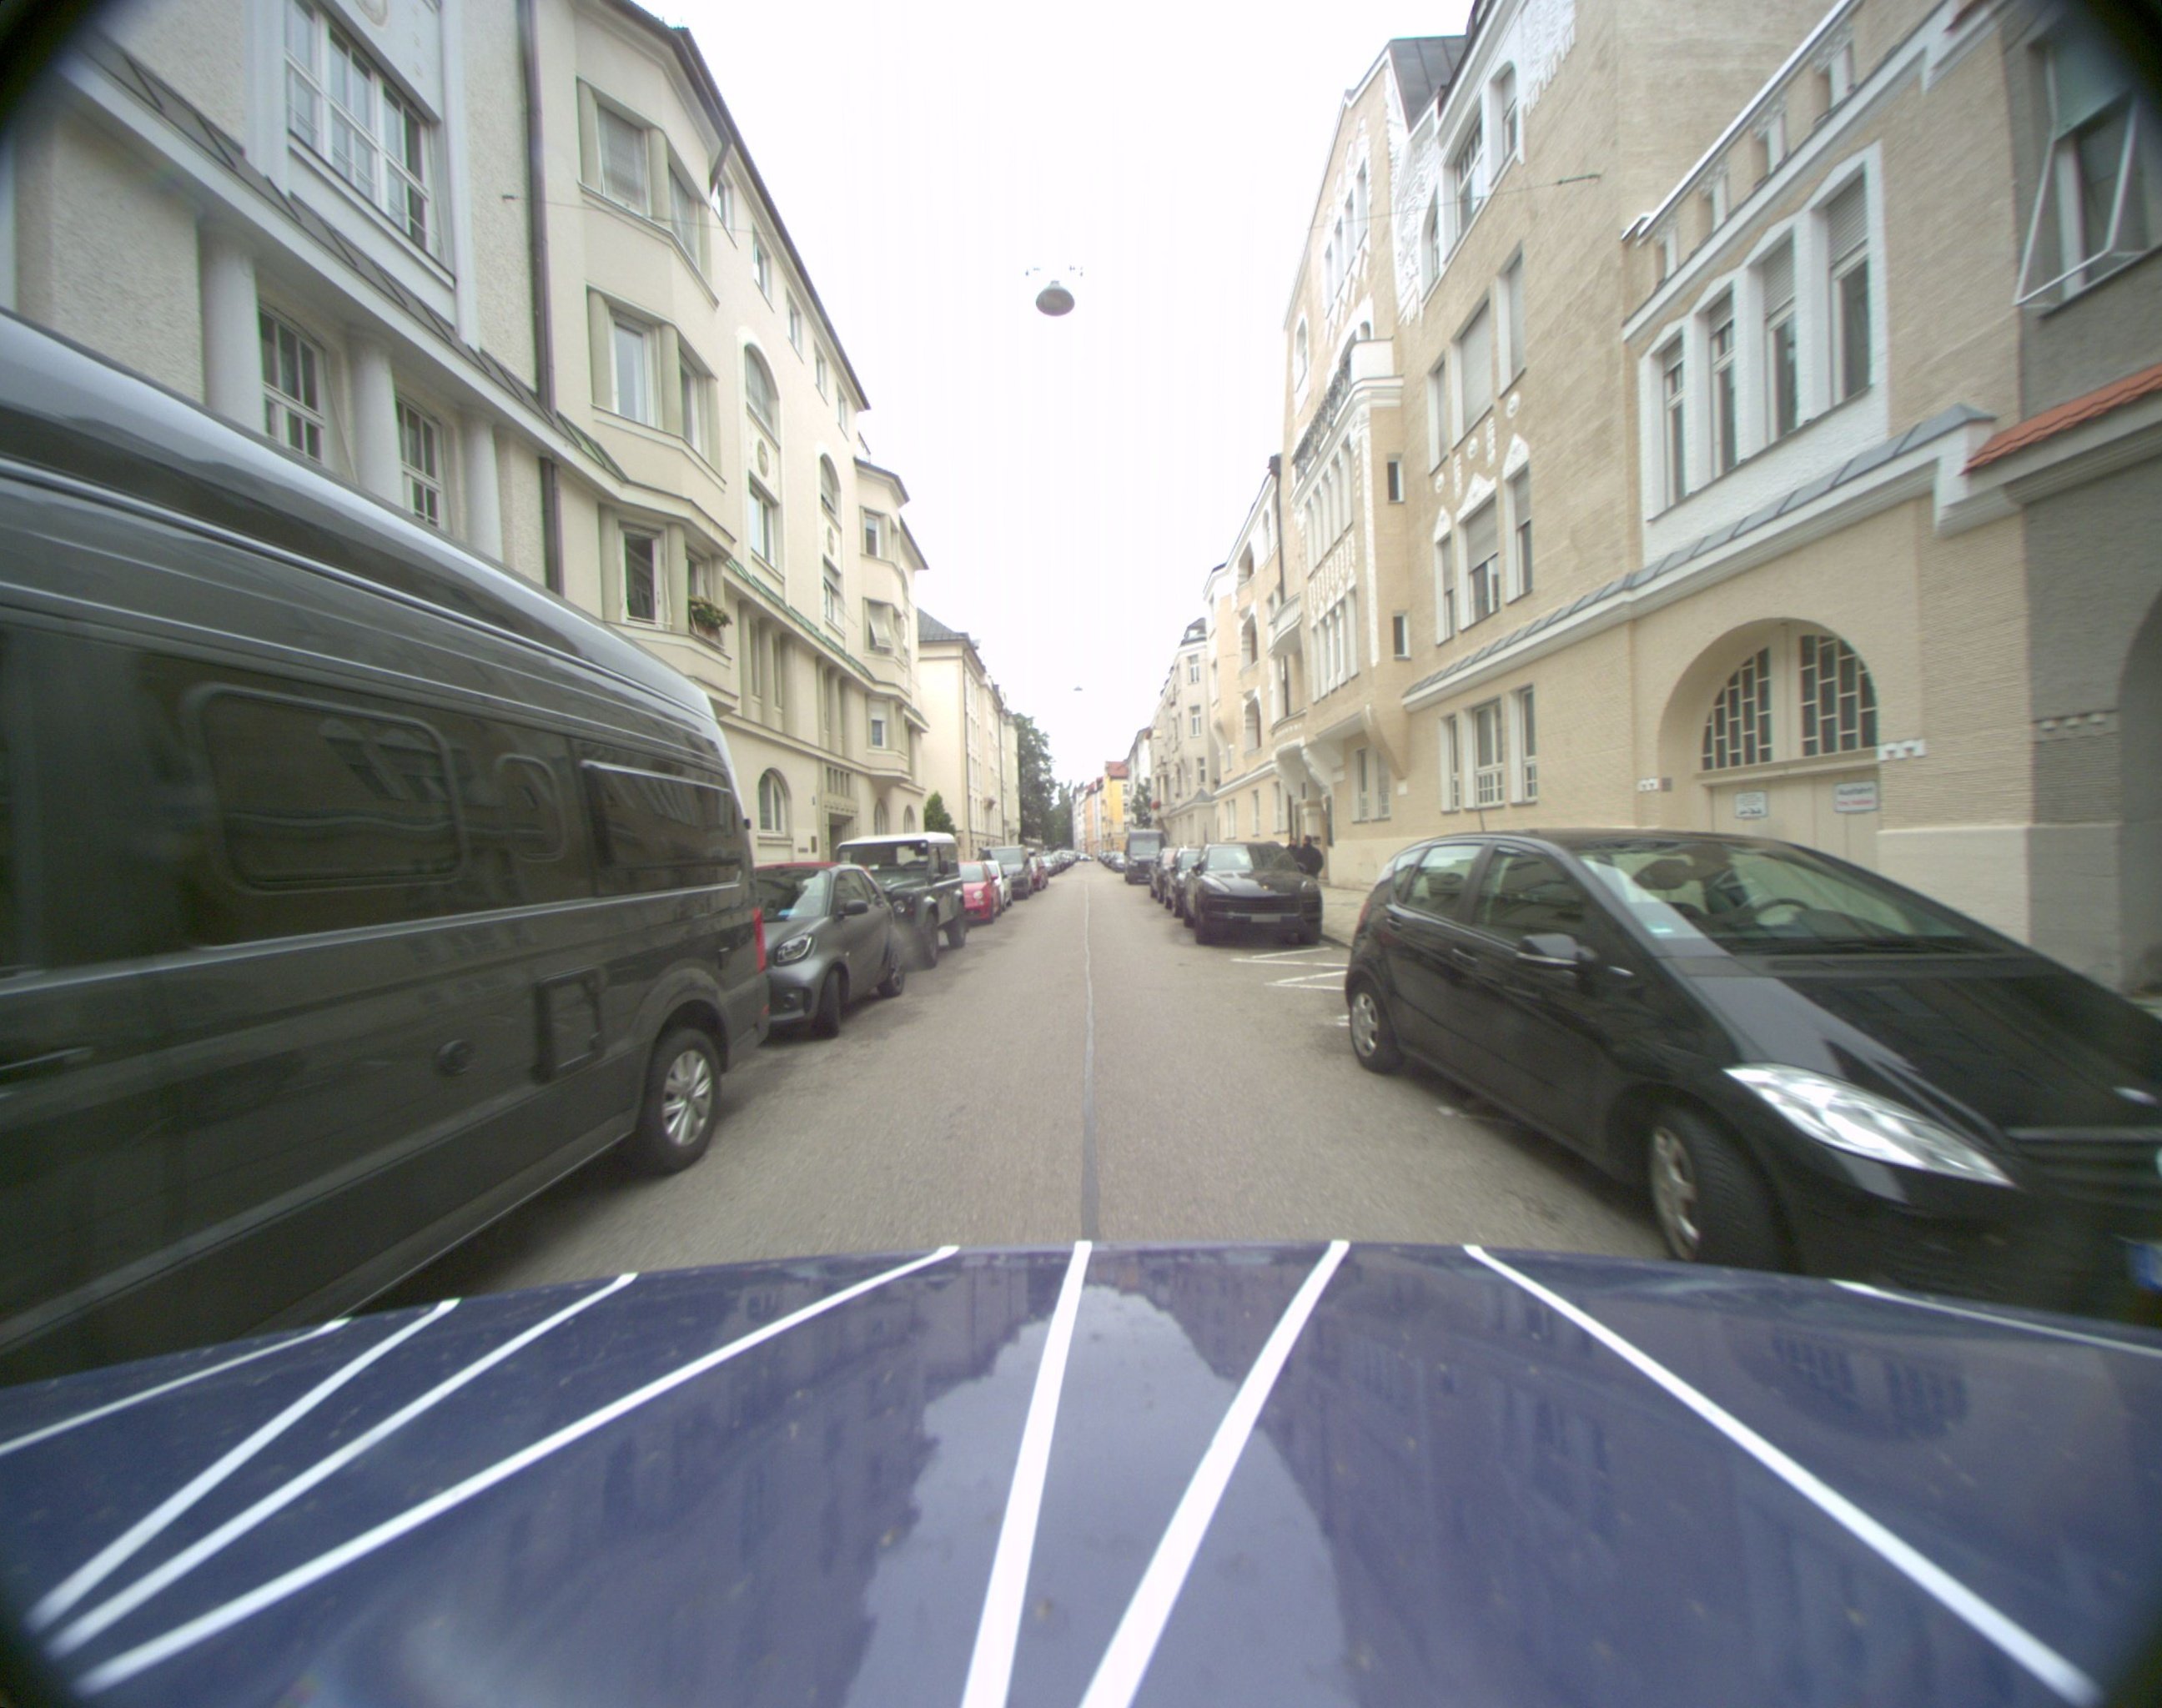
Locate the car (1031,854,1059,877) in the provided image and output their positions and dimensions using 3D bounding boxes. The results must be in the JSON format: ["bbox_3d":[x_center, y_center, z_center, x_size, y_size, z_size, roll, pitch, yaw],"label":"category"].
[{"bbox_3d":[-2.530,0.777,53.479,1.683,1.434,3.645,-2,1,1],"label":"car"}]

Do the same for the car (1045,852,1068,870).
[{"bbox_3d":[-2.004,0.561,63.075,1.683,1.375,3.645,-2,1,1],"label":"car"}]

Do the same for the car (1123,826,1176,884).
[{"bbox_3d":[3.267,0.032,37.190,2.104,2.606,5.677,-1,1,1],"label":"car"}]

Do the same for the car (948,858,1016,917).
[{"bbox_3d":[-2.854,0.925,22.486,1.497,1.463,3.674,-3,0,-1],"label":"car"}]

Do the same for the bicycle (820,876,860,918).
[{"bbox_3d":[-7.188,1.265,22.778,0.494,1.111,1.967,-2,1,1],"label":"bicycle"}]

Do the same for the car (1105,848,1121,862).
[{"bbox_3d":[3.798,0.099,90.399,1.683,1.628,3.704,-3,1,-1],"label":"car"}]

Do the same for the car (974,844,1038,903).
[{"bbox_3d":[-2.721,0.651,28.469,1.880,1.925,4.662,-3,1,-1],"label":"car"}]

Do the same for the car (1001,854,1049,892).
[{"bbox_3d":[-2.394,0.777,33.374,1.731,1.458,3.737,-2,1,1],"label":"car"}]

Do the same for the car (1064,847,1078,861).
[{"bbox_3d":[-1.242,-0.023,99.163,1.683,1.671,3.645,-2,1,1],"label":"car"}]

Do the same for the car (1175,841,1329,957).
[{"bbox_3d":[2.821,0.646,13.574,1.955,1.649,4.618,-2,1,4],"label":"car"}]

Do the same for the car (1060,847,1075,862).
[{"bbox_3d":[-1.616,0.061,93.007,1.683,1.671,3.645,-2,1,1],"label":"car"}]

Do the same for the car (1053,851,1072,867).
[{"bbox_3d":[-1.866,0.477,75.609,1.683,1.434,3.645,-2,1,1],"label":"car"}]

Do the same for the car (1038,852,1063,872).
[{"bbox_3d":[-2.326,0.625,58.553,1.683,1.375,3.645,-2,1,1],"label":"car"}]

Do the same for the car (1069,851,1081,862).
[{"bbox_3d":[-0.960,0.416,122.778,1.683,1.671,3.645,-2,1,1],"label":"car"}]

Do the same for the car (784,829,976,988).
[{"bbox_3d":[-2.941,0.702,12.069,1.800,2.027,4.071,-2,1,1],"label":"car"}]

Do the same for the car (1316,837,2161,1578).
[{"bbox_3d":[2.716,0.753,3.604,1.808,1.563,3.812,-3,1,-3],"label":"car"}]

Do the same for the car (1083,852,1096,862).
[{"bbox_3d":[1.554,0.508,140.205,1.999,1.788,3.997,-3,1,-5],"label":"car"}]

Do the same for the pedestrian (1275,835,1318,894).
[{"bbox_3d":[6.573,0.306,23.207,0.995,1.719,0.939,-3,1,0],"label":"pedestrian"}]

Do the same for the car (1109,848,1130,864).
[{"bbox_3d":[3.646,0.203,72.735,1.683,1.390,3.704,-3,1,-1],"label":"car"}]

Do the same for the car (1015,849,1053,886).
[{"bbox_3d":[-2.448,0.672,40.093,1.683,1.767,3.456,-2,1,1],"label":"car"}]

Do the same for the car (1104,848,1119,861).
[{"bbox_3d":[4.034,0.047,101.176,1.683,1.628,3.704,-3,1,-1],"label":"car"}]

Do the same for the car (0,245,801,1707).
[{"bbox_3d":[-3.166,0.321,2.133,2.260,2.943,6.130,-3,2,0],"label":"car"}]

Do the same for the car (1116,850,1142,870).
[{"bbox_3d":[3.572,0.428,56.656,1.683,1.390,3.705,-2,1,1],"label":"car"}]

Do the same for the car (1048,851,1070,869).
[{"bbox_3d":[-1.910,0.510,67.360,1.683,1.375,3.645,-2,1,1],"label":"car"}]

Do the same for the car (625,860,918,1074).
[{"bbox_3d":[-2.806,0.934,7.535,1.545,1.616,2.815,-2,1,4],"label":"car"}]

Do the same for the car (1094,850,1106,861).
[{"bbox_3d":[3.846,0.219,151.088,1.999,2.002,3.998,-3,1,-3],"label":"car"}]

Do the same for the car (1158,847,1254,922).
[{"bbox_3d":[2.998,0.669,19.025,1.736,1.633,4.101,-2,1,1],"label":"car"}]

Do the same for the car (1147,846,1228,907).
[{"bbox_3d":[3.208,0.618,23.738,1.877,1.639,4.459,-2,1,1],"label":"car"}]

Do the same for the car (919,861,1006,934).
[{"bbox_3d":[-2.774,0.966,18.412,1.497,1.463,3.503,-3,1,-1],"label":"car"}]

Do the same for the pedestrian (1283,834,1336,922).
[{"bbox_3d":[4.793,0.488,15.988,0.837,1.779,0.741,-2,1,1],"label":"pedestrian"}]
